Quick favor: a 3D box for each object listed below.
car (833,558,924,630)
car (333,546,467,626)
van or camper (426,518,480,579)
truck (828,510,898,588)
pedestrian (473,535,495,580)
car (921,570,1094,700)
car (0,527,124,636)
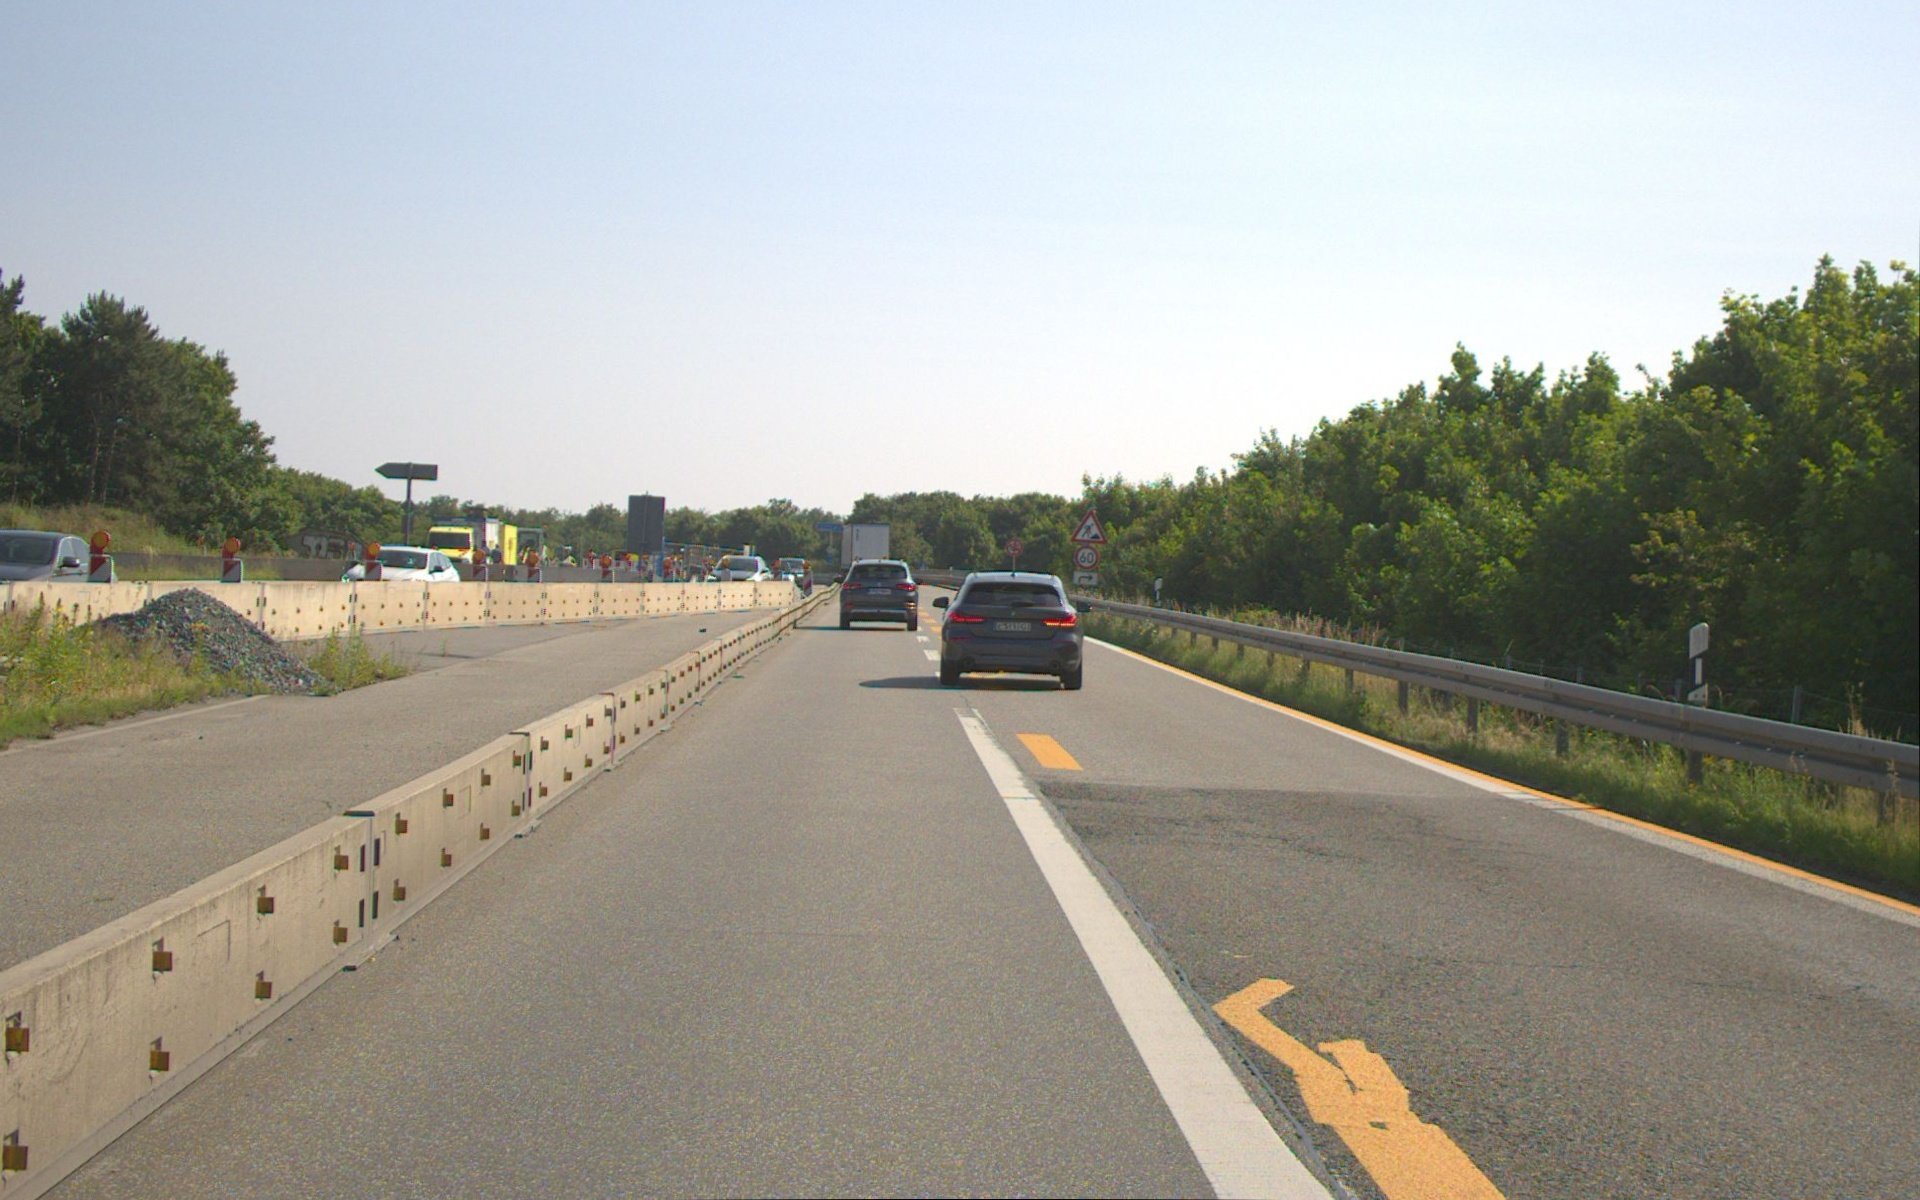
[{"bbox_3d":[-1.842,-0.149,78.979,1.993,1.561,4.000,2,1,-1],"label":"car"},{"bbox_3d":[-12.013,-0.306,74.013,1.817,1.602,4.438,2,1,4],"label":"car"},{"bbox_3d":[-21.224,-2.156,144.034,1.993,2.370,6.203,3,1,-7],"label":"van or camper"},{"bbox_3d":[-6.573,-3.390,230.530,3.760,4.894,14.139,3,0,-4],"label":"truck"},{"bbox_3d":[-19.549,-1.758,141.100,0.740,1.814,0.797,3,0,-13],"label":"pedestrian"},{"bbox_3d":[0.564,0.411,44.126,1.920,1.488,4.000,3,0,-2],"label":"car"},{"bbox_3d":[-13.201,-0.283,48.083,1.839,1.435,4.813,1,0,0],"label":"car"}]
